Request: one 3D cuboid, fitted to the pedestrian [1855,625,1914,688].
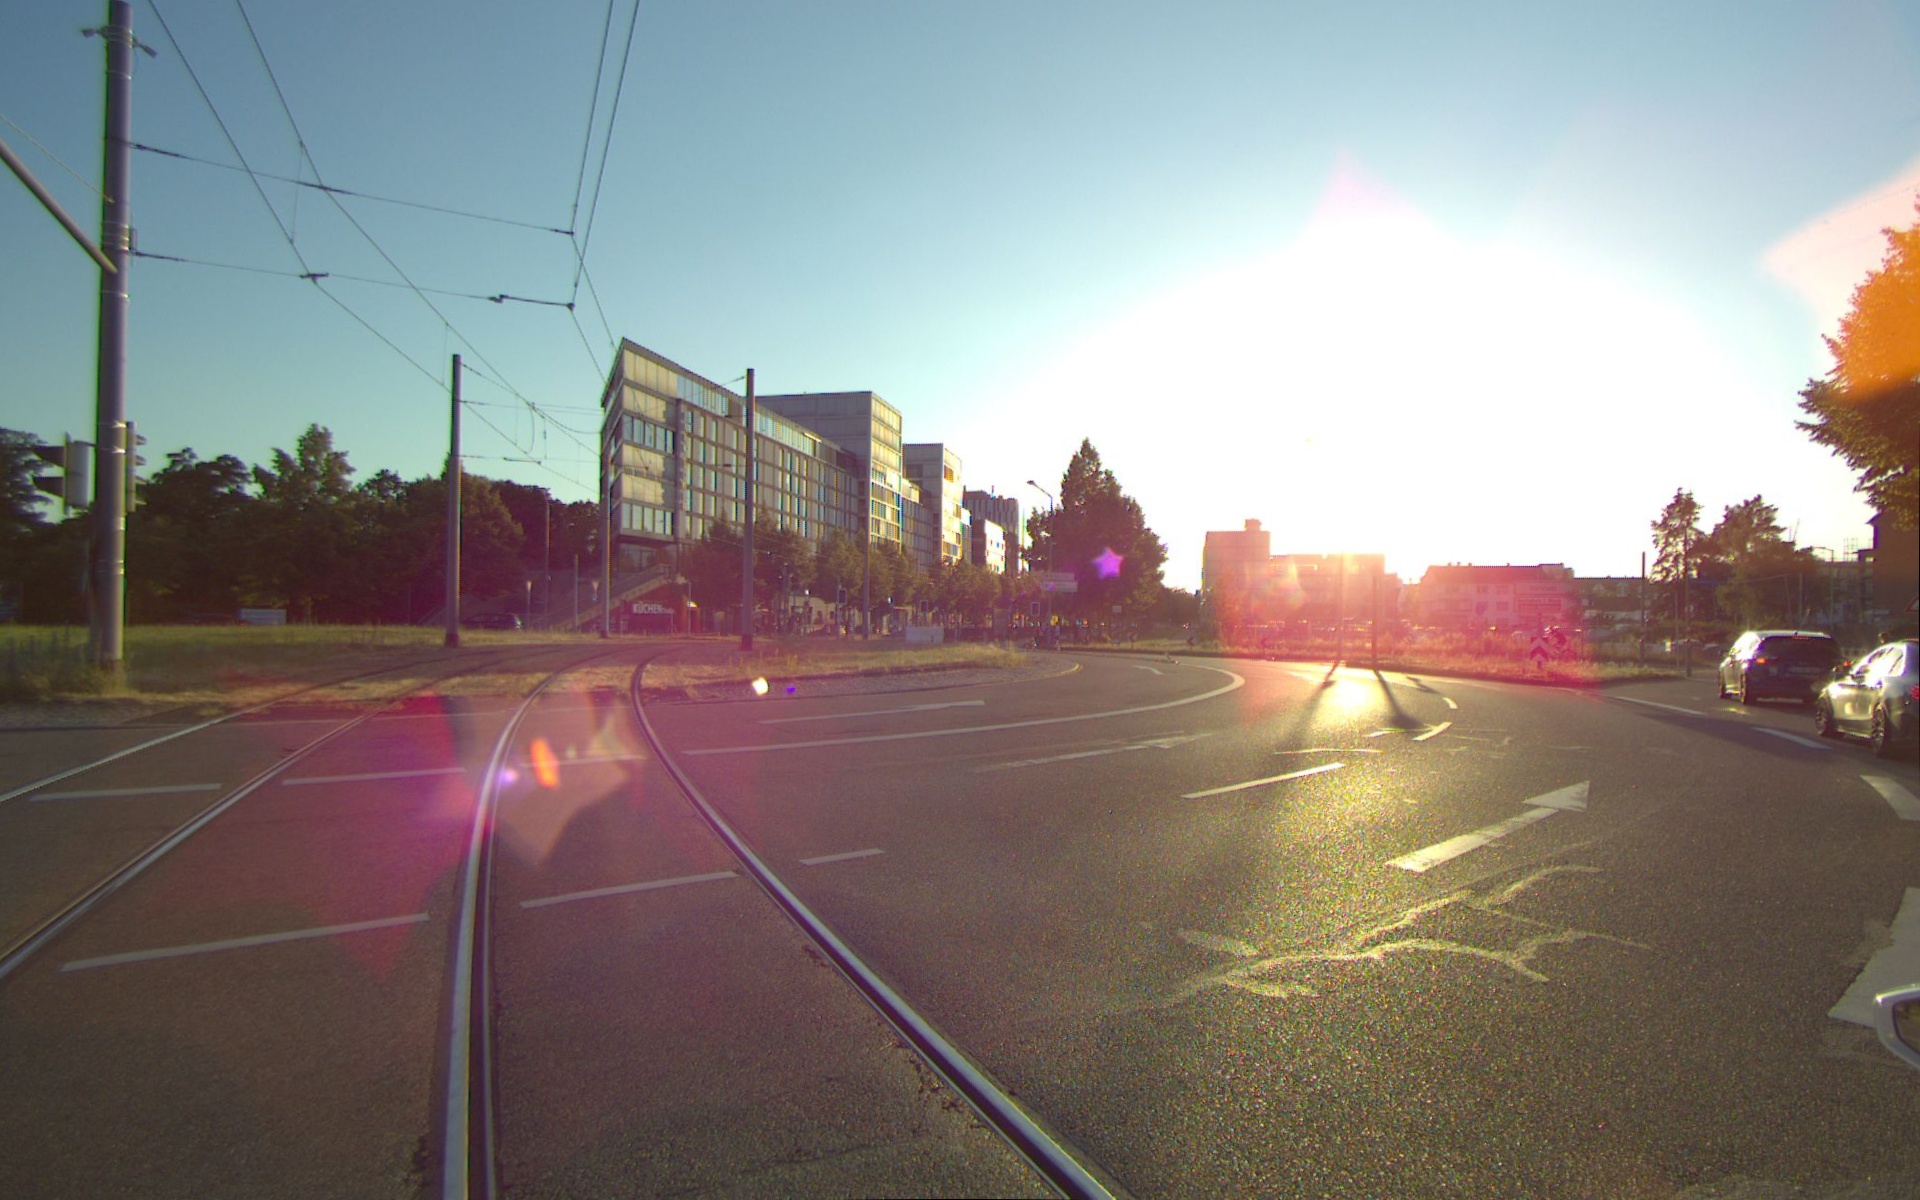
[{"bbox_3d":[25.830,1.576,28.067,0.830,1.708,0.886,1,-1,-5],"label":"pedestrian"}]

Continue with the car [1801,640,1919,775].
[{"bbox_3d":[12.402,1.296,12.691,1.923,1.446,4.421,2,0,30],"label":"car"}]

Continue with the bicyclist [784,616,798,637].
[{"bbox_3d":[-12.844,1.996,76.362,0.959,1.545,0.755,1,-1,1],"label":"bicyclist"}]

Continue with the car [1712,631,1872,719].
[{"bbox_3d":[18.120,1.554,22.090,1.922,1.623,4.071,2,0,29],"label":"car"}]

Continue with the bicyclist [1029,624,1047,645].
[{"bbox_3d":[5.382,2.388,69.461,0.961,1.412,0.753,0,-1,31],"label":"bicyclist"}]

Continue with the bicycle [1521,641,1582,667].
[{"bbox_3d":[28.173,2.553,47.857,2.360,1.182,0.755,1,-1,11],"label":"bicycle"}]

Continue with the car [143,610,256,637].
[{"bbox_3d":[-41.507,1.283,54.961,4.527,1.451,1.935,1,-1,-21],"label":"car"}]

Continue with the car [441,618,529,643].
[{"bbox_3d":[-28.005,1.794,59.311,4.239,1.451,1.943,0,-1,-6],"label":"car"}]

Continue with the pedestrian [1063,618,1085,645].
[{"bbox_3d":[7.727,2.123,67.872,1.142,1.851,0.976,0,-1,35],"label":"pedestrian"}]

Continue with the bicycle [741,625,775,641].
[{"bbox_3d":[-15.390,2.526,76.472,2.361,1.182,0.755,1,-1,4],"label":"bicycle"}]

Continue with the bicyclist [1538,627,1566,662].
[{"bbox_3d":[28.180,2.094,47.838,0.958,1.634,0.755,1,-1,11],"label":"bicyclist"}]

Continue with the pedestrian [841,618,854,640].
[{"bbox_3d":[-8.748,2.250,78.146,0.870,1.730,0.795,1,-1,7],"label":"pedestrian"}]

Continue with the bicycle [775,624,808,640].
[{"bbox_3d":[-12.769,2.436,76.300,2.361,1.182,0.755,1,-1,1],"label":"bicycle"}]

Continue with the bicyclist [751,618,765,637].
[{"bbox_3d":[-15.347,2.122,76.482,0.862,1.411,0.755,1,-1,4],"label":"bicyclist"}]

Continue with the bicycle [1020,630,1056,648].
[{"bbox_3d":[5.376,2.665,69.481,2.367,1.182,0.753,0,-1,31],"label":"bicycle"}]

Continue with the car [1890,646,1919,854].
[{"bbox_3d":[7.841,1.081,6.861,1.928,1.360,4.648,3,1,40],"label":"car"}]
